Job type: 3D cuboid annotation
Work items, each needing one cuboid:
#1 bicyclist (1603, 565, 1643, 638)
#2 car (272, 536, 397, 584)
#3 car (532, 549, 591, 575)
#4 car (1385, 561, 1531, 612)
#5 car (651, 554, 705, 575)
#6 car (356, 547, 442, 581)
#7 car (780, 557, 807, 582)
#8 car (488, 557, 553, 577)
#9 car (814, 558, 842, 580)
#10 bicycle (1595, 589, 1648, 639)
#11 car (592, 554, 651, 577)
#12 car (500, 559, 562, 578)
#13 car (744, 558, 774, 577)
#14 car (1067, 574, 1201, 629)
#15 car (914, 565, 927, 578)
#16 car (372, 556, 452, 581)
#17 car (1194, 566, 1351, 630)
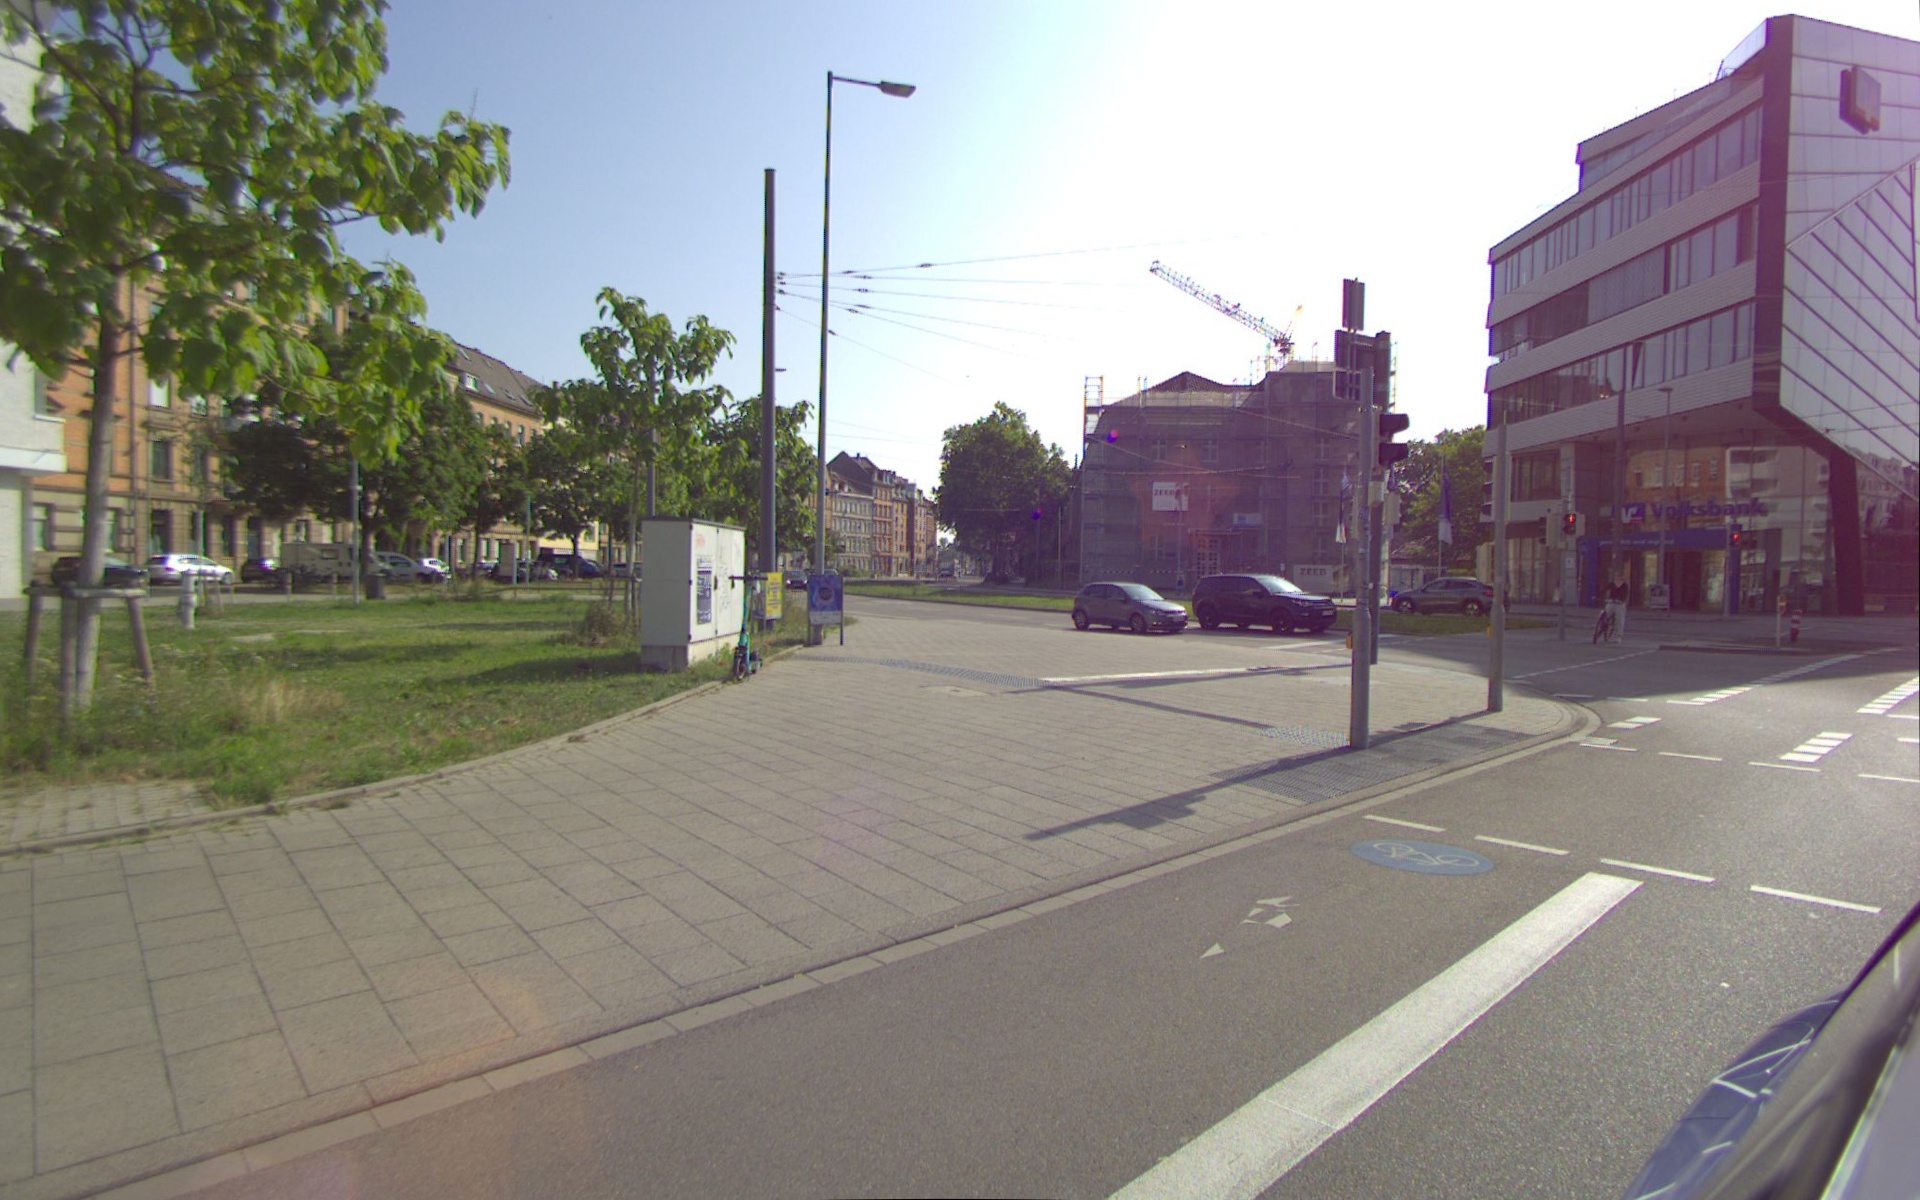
[{"bbox_3d":[16.185,0.029,24.714,0.626,1.723,0.668,-2,3,-43],"label":"bicyclist"},{"bbox_3d":[-30.460,-1.934,49.463,4.942,2.205,1.884,0,2,-24],"label":"car"},{"bbox_3d":[-29.079,-2.790,73.814,3.778,1.828,1.788,0,2,-29],"label":"car"},{"bbox_3d":[19.575,-0.578,39.964,1.920,1.805,4.812,-2,4,-38],"label":"car"},{"bbox_3d":[-27.866,-3.536,100.120,4.833,1.861,1.722,1,1,-36],"label":"car"},{"bbox_3d":[-29.417,-1.871,53.067,3.905,1.727,1.882,0,2,-31],"label":"car"},{"bbox_3d":[-11.514,-2.092,70.134,1.623,1.654,4.007,1,2,-7],"label":"car"},{"bbox_3d":[-29.431,-2.213,67.815,3.779,1.264,1.724,0,2,-31],"label":"car"},{"bbox_3d":[-12.833,-3.044,98.745,1.964,2.038,3.997,1,2,4],"label":"car"},{"bbox_3d":[16.118,0.321,24.659,1.775,1.111,0.668,-3,4,-43],"label":"bicycle"},{"bbox_3d":[-28.952,-2.952,86.513,4.640,1.787,1.725,2,1,-24],"label":"car"},{"bbox_3d":[-29.714,-2.200,70.158,3.779,1.264,1.724,0,2,-31],"label":"car"},{"bbox_3d":[-17.010,-2.751,85.886,1.961,1.580,3.878,0,1,-3],"label":"car"},{"bbox_3d":[5.045,-0.004,29.799,1.613,1.436,3.896,-1,3,-35],"label":"car"},{"bbox_3d":[-6.403,-4.672,164.604,1.963,2.002,4.001,0,3,1],"label":"car"},{"bbox_3d":[-29.901,-1.709,55.278,3.779,1.264,1.724,0,2,-31],"label":"car"},{"bbox_3d":[9.076,-0.115,29.738,1.768,1.698,4.223,1,2,-34],"label":"car"}]
